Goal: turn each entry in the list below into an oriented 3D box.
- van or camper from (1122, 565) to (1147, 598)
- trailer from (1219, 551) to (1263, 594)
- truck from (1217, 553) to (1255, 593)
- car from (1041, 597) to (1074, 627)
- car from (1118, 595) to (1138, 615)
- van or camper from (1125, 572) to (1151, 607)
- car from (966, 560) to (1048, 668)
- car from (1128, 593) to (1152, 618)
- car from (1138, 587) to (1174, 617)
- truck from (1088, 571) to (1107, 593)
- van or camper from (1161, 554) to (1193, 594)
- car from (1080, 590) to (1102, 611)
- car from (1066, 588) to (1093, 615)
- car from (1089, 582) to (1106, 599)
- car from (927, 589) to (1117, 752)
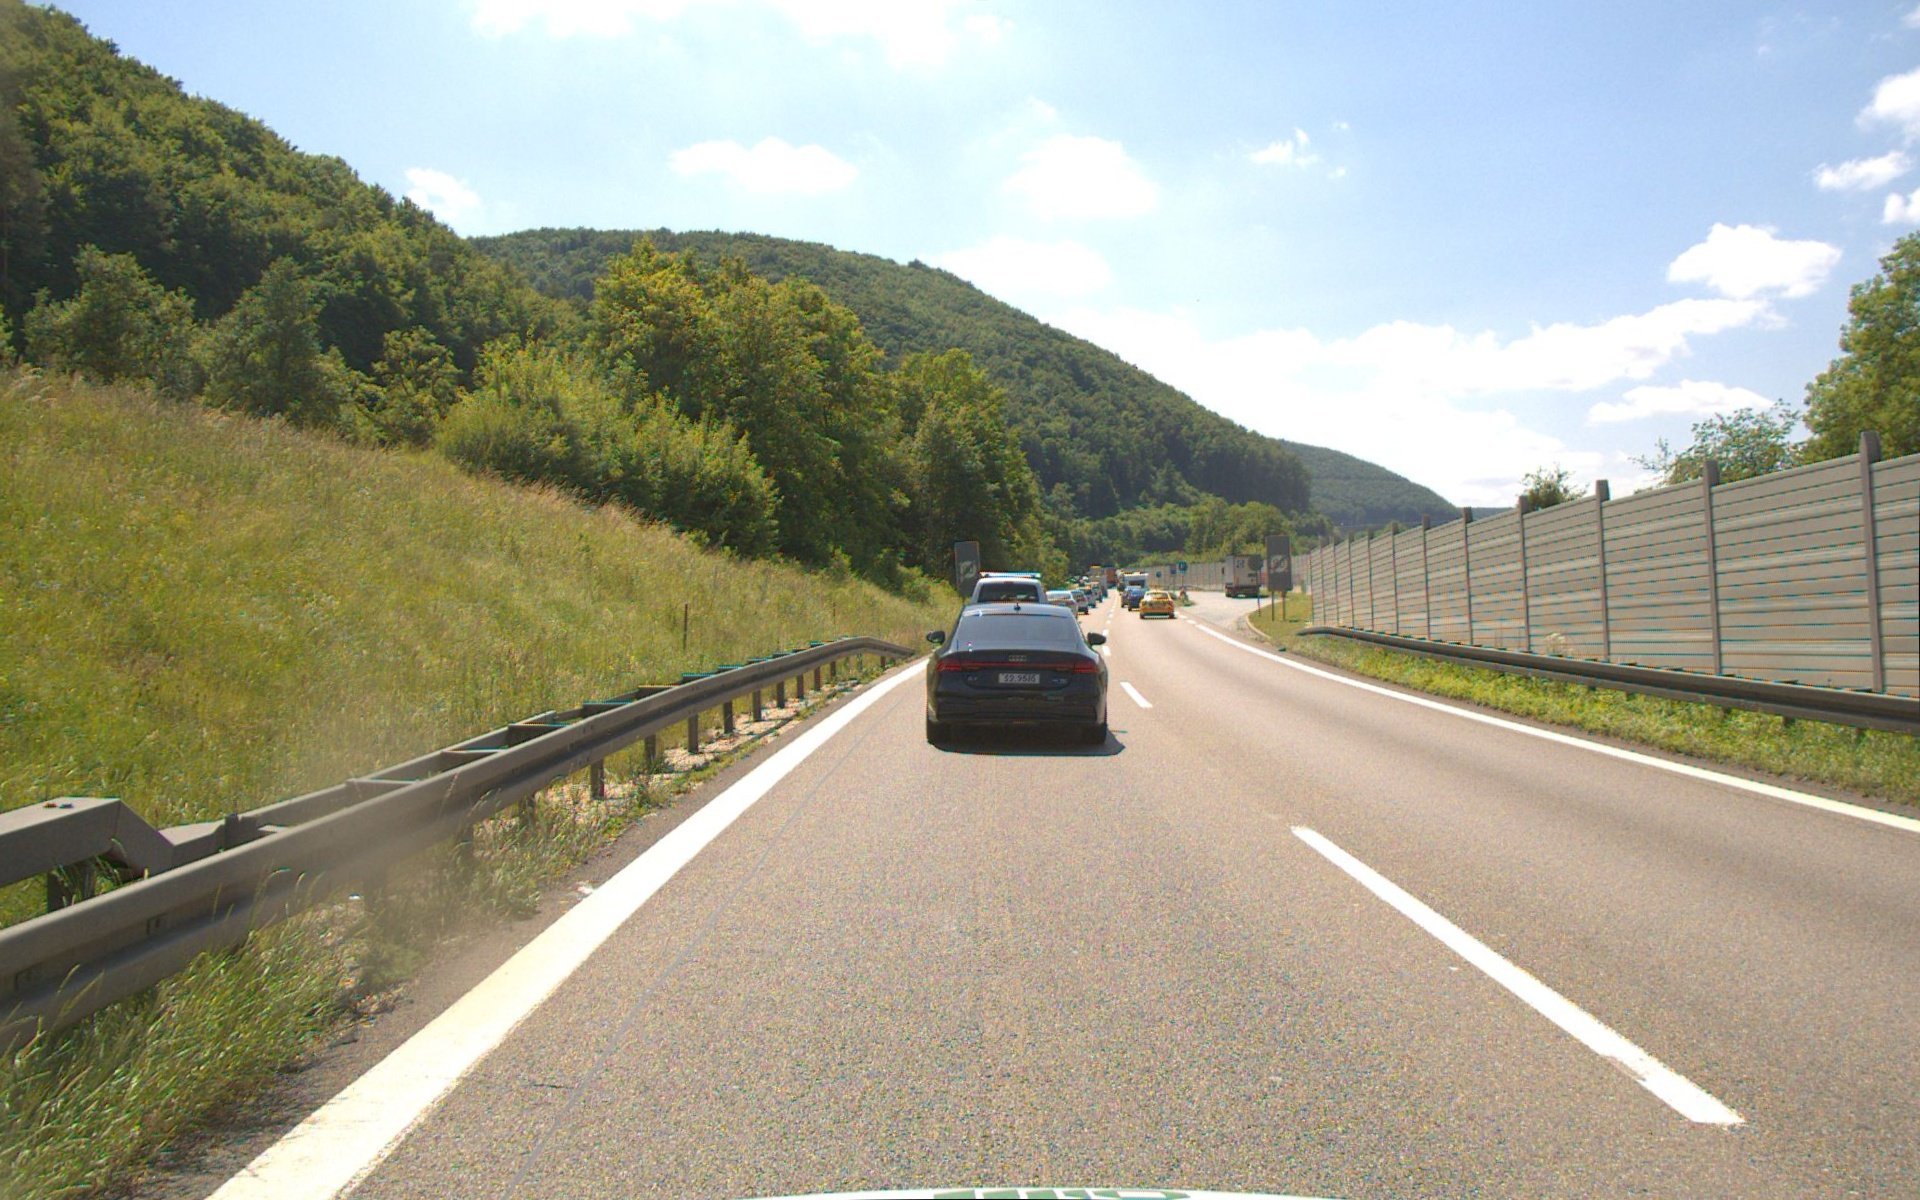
[{"bbox_3d":[21.412,-2.221,203.042,2.736,3.975,6.170,1,0,4],"label":"van or camper"},{"bbox_3d":[27.174,-2.638,160.238,3.339,3.968,11.158,0,1,5],"label":"trailer"},{"bbox_3d":[27.636,-2.714,165.979,3.339,3.968,5.391,0,0,5],"label":"truck"},{"bbox_3d":[4.571,0.549,77.789,1.489,1.317,3.516,1,0,3],"label":"car"},{"bbox_3d":[13.169,0.409,129.469,1.497,1.552,3.599,1,0,6],"label":"car"},{"bbox_3d":[16.840,-0.984,156.881,2.378,3.210,5.207,1,0,6],"label":"van or camper"},{"bbox_3d":[0.933,0.265,33.100,1.489,2.002,3.515,2,0,1],"label":"car"},{"bbox_3d":[11.803,0.351,108.447,1.497,1.552,3.599,1,0,6],"label":"car"},{"bbox_3d":[10.317,0.109,87.152,1.839,1.525,4.003,0,0,6],"label":"car"},{"bbox_3d":[17.490,-2.270,209.914,2.021,2.651,5.618,2,0,7],"label":"truck"},{"bbox_3d":[22.291,-2.622,170.088,2.736,3.908,6.170,1,0,4],"label":"van or camper"},{"bbox_3d":[10.323,0.056,130.112,1.489,1.580,3.517,2,0,7],"label":"car"},{"bbox_3d":[7.369,0.118,101.482,1.489,1.580,3.517,2,0,6],"label":"car"},{"bbox_3d":[13.763,-0.939,165.290,1.489,1.580,3.517,2,0,7],"label":"car"},{"bbox_3d":[0.567,0.671,17.640,1.775,1.541,3.513,1,0,-2],"label":"car"}]
